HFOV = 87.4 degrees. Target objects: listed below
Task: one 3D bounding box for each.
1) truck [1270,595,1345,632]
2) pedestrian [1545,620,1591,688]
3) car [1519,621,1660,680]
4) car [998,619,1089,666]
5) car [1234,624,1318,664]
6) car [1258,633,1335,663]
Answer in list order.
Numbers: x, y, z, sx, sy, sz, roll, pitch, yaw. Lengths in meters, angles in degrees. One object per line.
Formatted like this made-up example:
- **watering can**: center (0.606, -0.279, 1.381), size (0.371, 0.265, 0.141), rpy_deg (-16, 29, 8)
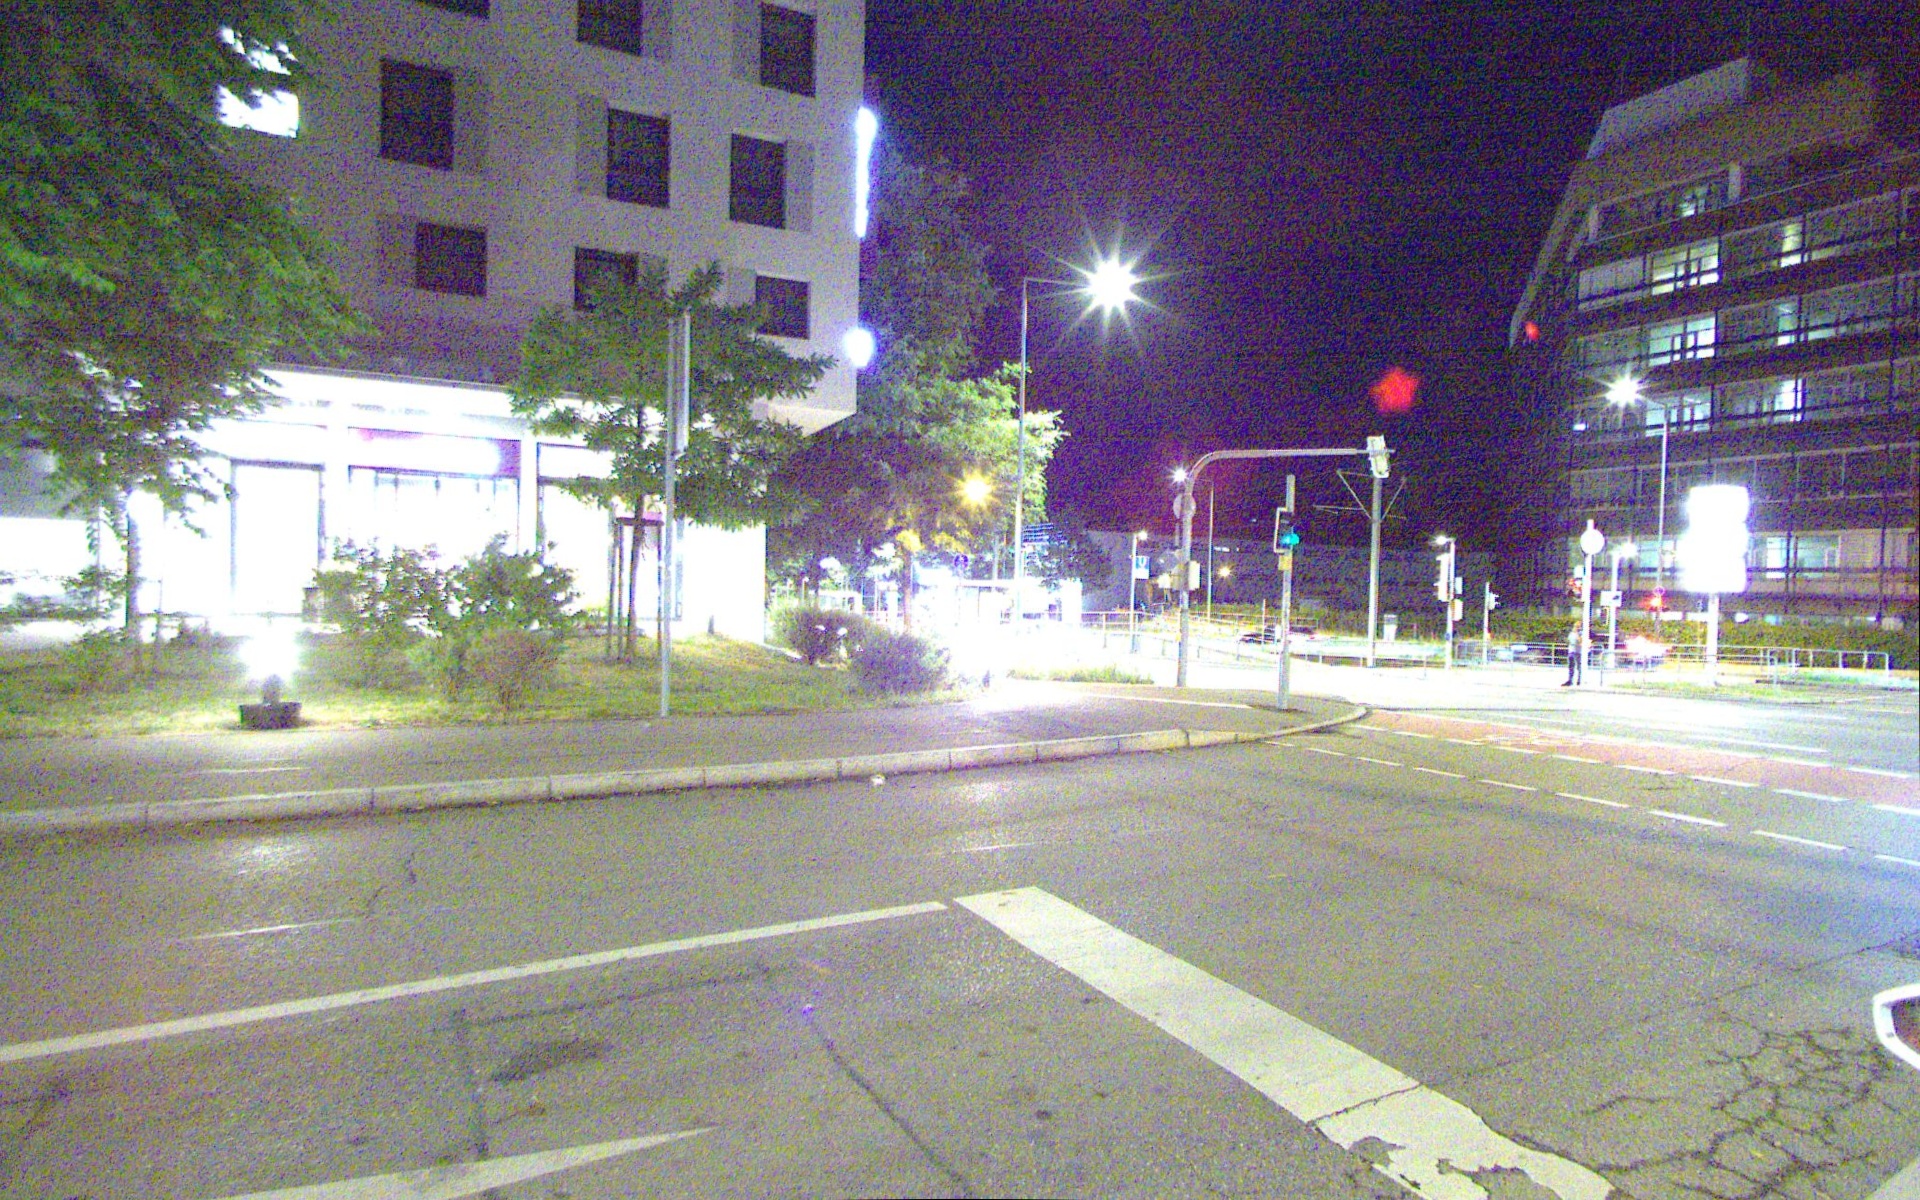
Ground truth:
- **truck**: center (30.931, 1.179, 89.599), size (2.877, 3.129, 5.873), rpy_deg (2, 0, -28)
- **pedestrian**: center (15.533, 1.368, 25.645), size (0.854, 1.656, 0.665), rpy_deg (2, 1, -34)
- **car**: center (23.984, 1.875, 38.431), size (1.974, 2.001, 4.168), rpy_deg (2, 0, -26)
- **car**: center (3.257, 1.642, 39.854), size (1.849, 1.705, 4.273), rpy_deg (0, -1, -23)
- **car**: center (16.762, 2.336, 53.469), size (1.820, 1.837, 4.134), rpy_deg (3, 0, -29)
- **car**: center (19.098, 2.712, 57.134), size (1.843, 1.405, 3.969), rpy_deg (3, 0, -29)
